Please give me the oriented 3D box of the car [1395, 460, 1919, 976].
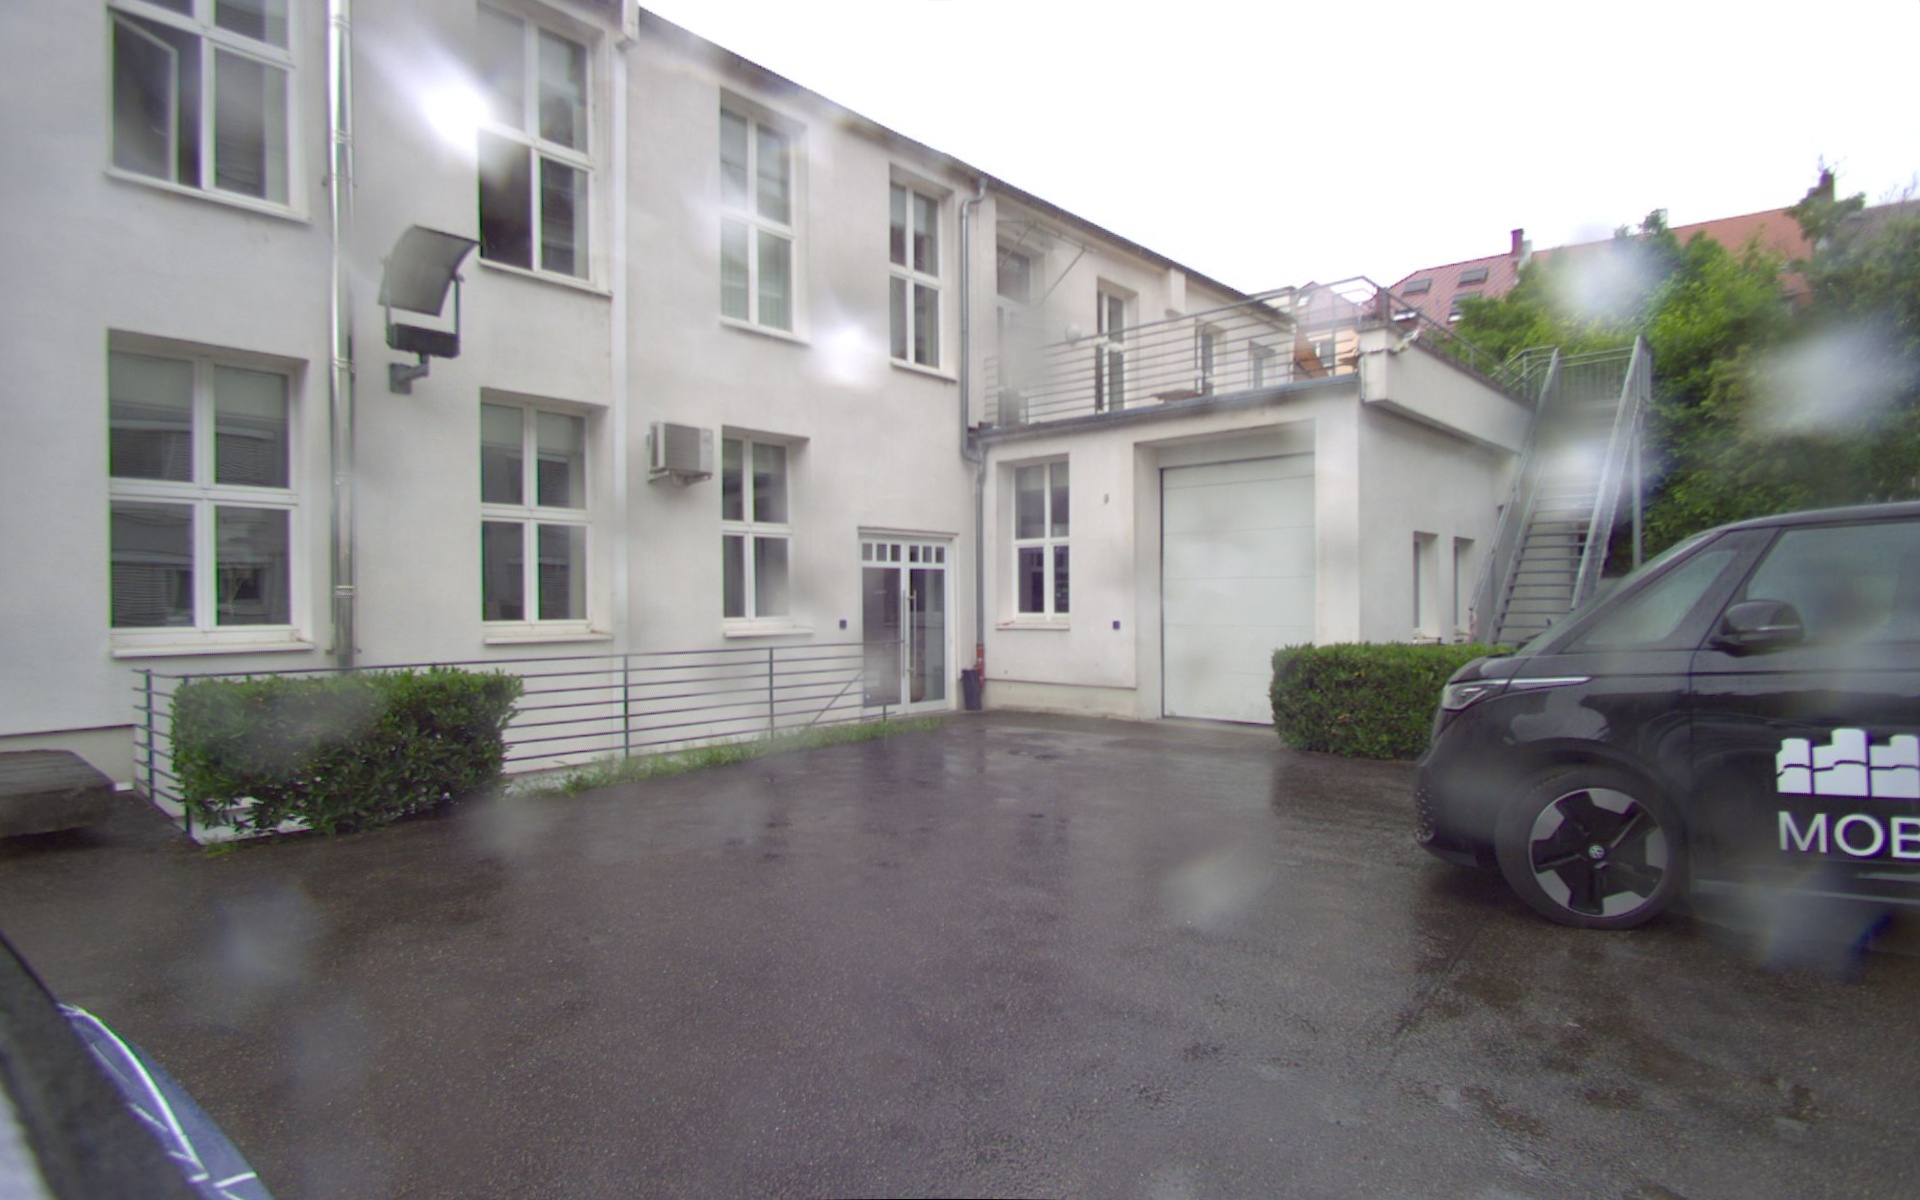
[{"bbox_3d":[4.485,0.441,4.347,4.511,1.912,2.023,-1,-2,34],"label":"car"}]
